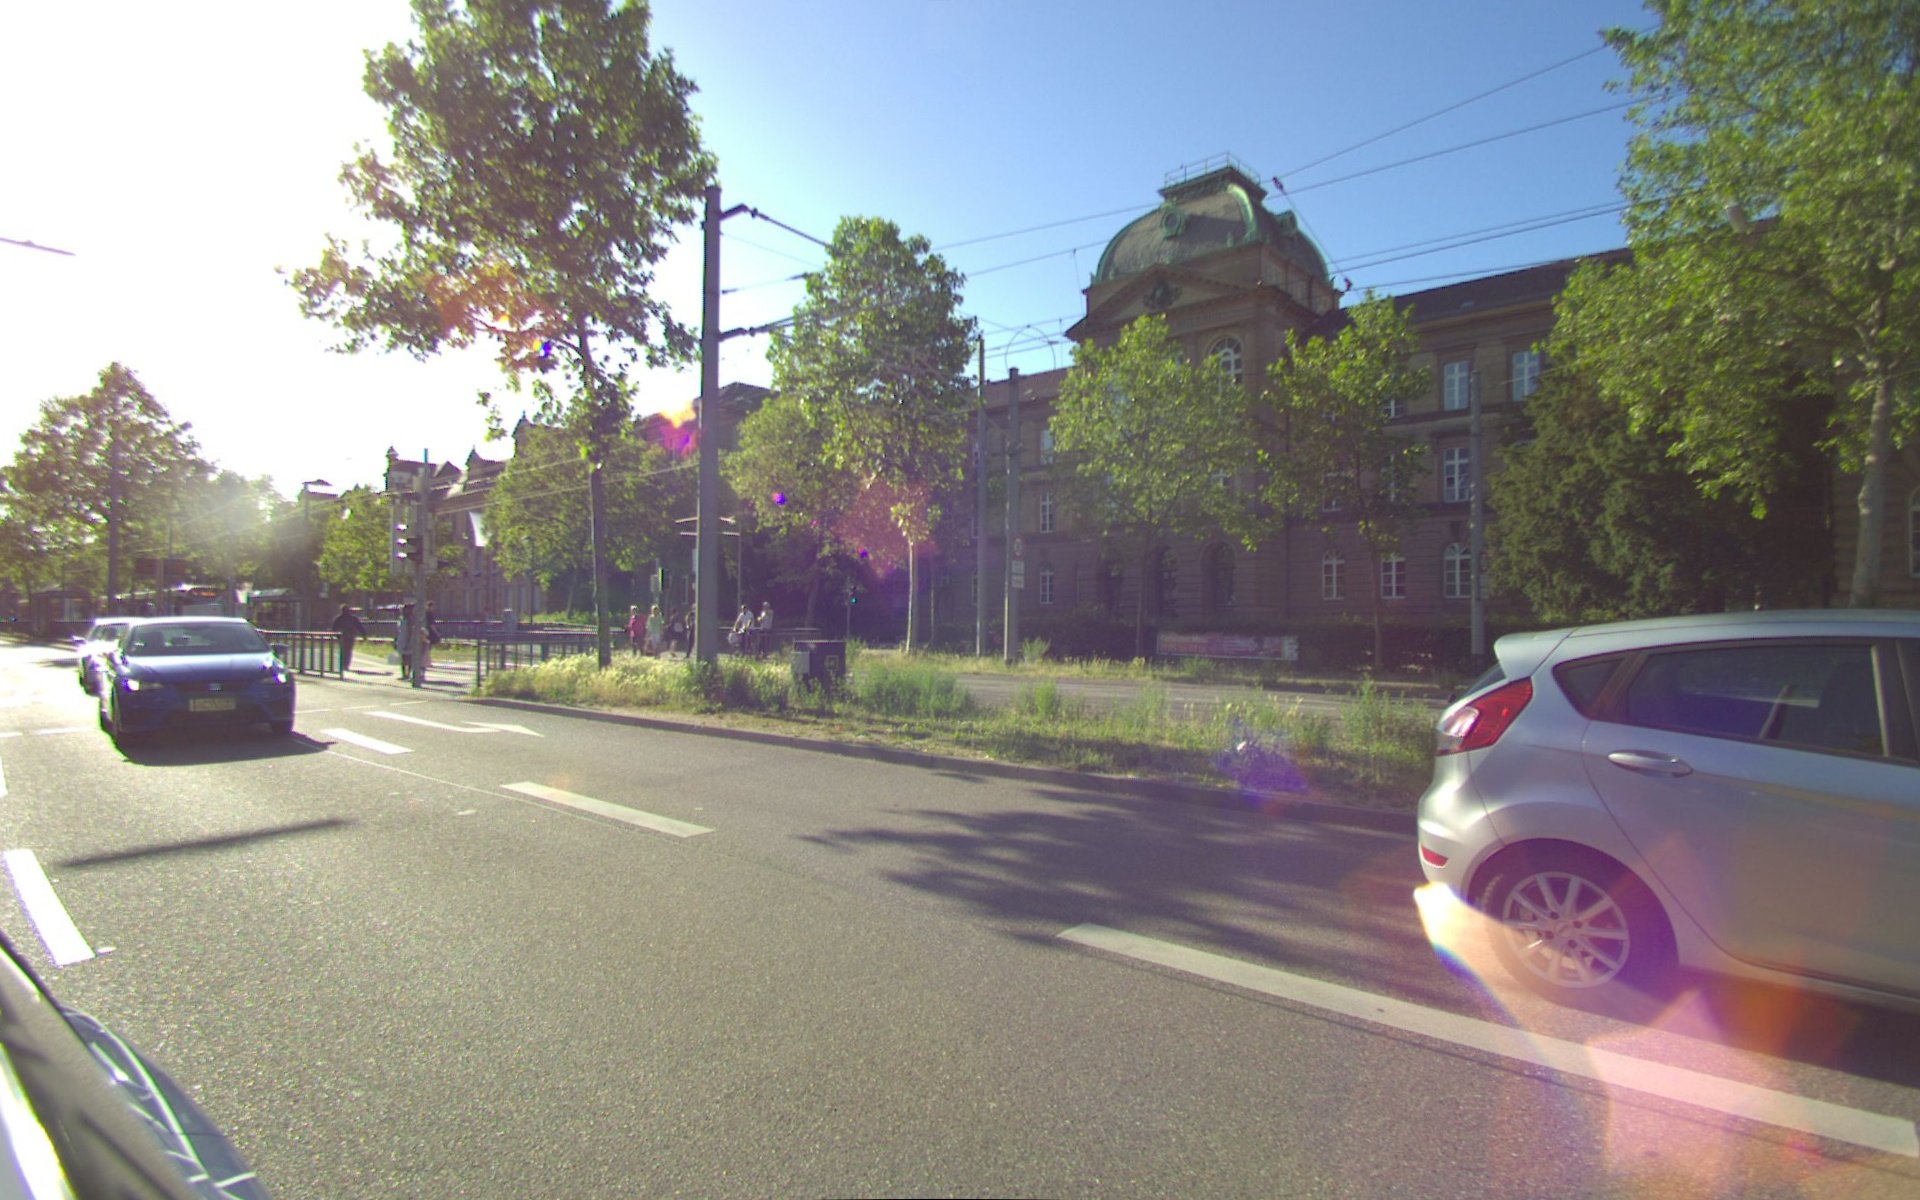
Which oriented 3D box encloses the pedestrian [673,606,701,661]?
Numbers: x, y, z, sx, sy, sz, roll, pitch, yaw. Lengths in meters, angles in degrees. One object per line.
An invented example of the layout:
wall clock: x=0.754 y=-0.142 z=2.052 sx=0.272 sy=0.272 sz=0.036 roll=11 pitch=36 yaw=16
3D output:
pedestrian: x=-8.831 y=1.078 z=32.755 sx=0.692 sy=1.749 sz=0.592 roll=-1 pitch=0 yaw=10

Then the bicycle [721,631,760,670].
bicycle: x=-6.461 y=1.474 z=29.845 sx=0.538 sy=1.049 sz=1.658 roll=0 pitch=0 yaw=11

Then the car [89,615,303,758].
car: x=-9.688 y=0.956 z=12.717 sx=1.752 sy=1.459 sz=3.873 roll=-1 pitch=0 yaw=-43

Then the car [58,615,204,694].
car: x=-17.235 y=1.055 z=20.973 sx=3.999 sy=1.439 sz=1.775 roll=-1 pitch=0 yaw=42

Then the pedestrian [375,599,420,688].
pedestrian: x=-11.734 y=0.896 z=21.101 sx=0.503 sy=1.820 sz=0.640 roll=-1 pitch=0 yaw=32

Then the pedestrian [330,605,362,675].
pedestrian: x=-15.056 y=0.970 z=24.814 sx=0.572 sy=1.674 sz=0.668 roll=-1 pitch=0 yaw=-39

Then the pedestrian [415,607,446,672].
pedestrian: x=-13.942 y=1.031 z=26.658 sx=0.537 sy=1.674 sz=0.730 roll=-1 pitch=0 yaw=-43

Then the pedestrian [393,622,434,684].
pedestrian: x=-11.259 y=1.086 z=20.857 sx=0.424 sy=1.242 sz=0.588 roll=-1 pitch=0 yaw=32

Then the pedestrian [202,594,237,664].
pedestrian: x=-23.827 y=0.914 z=32.588 sx=0.773 sy=2.204 sz=0.803 roll=-1 pitch=0 yaw=-27

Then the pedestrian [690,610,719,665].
pedestrian: x=-7.957 y=1.162 z=31.494 sx=0.691 sy=1.656 sz=0.593 roll=-1 pitch=0 yaw=6

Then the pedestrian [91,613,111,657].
pedestrian: x=-42.465 y=1.714 z=50.038 sx=0.704 sy=2.131 sz=0.788 roll=-1 pitch=0 yaw=-43

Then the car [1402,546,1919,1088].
car: x=3.726 y=0.627 z=3.292 sx=3.864 sy=1.607 sz=1.644 roll=-1 pitch=0 yaw=43

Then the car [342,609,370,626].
car: x=-44.760 y=1.286 z=74.977 sx=2.459 sy=1.206 sz=1.166 roll=-1 pitch=0 yaw=43

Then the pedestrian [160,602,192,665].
pedestrian: x=-25.903 y=1.090 z=33.430 sx=0.787 sy=2.029 sz=0.701 roll=-1 pitch=0 yaw=44

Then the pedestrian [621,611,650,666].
pedestrian: x=-10.537 y=1.253 z=32.905 sx=0.692 sy=1.758 sz=0.592 roll=-1 pitch=0 yaw=10

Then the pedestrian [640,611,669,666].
pedestrian: x=-9.664 y=1.209 z=32.021 sx=0.692 sy=1.689 sz=0.592 roll=-1 pitch=0 yaw=10

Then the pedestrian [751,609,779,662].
pedestrian: x=-6.194 y=1.124 z=32.173 sx=0.692 sy=1.633 sz=0.592 roll=-1 pitch=0 yaw=10

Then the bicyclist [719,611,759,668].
bicyclist: x=-6.523 y=1.153 z=29.873 sx=0.826 sy=1.656 sz=0.966 roll=-1 pitch=0 yaw=9
